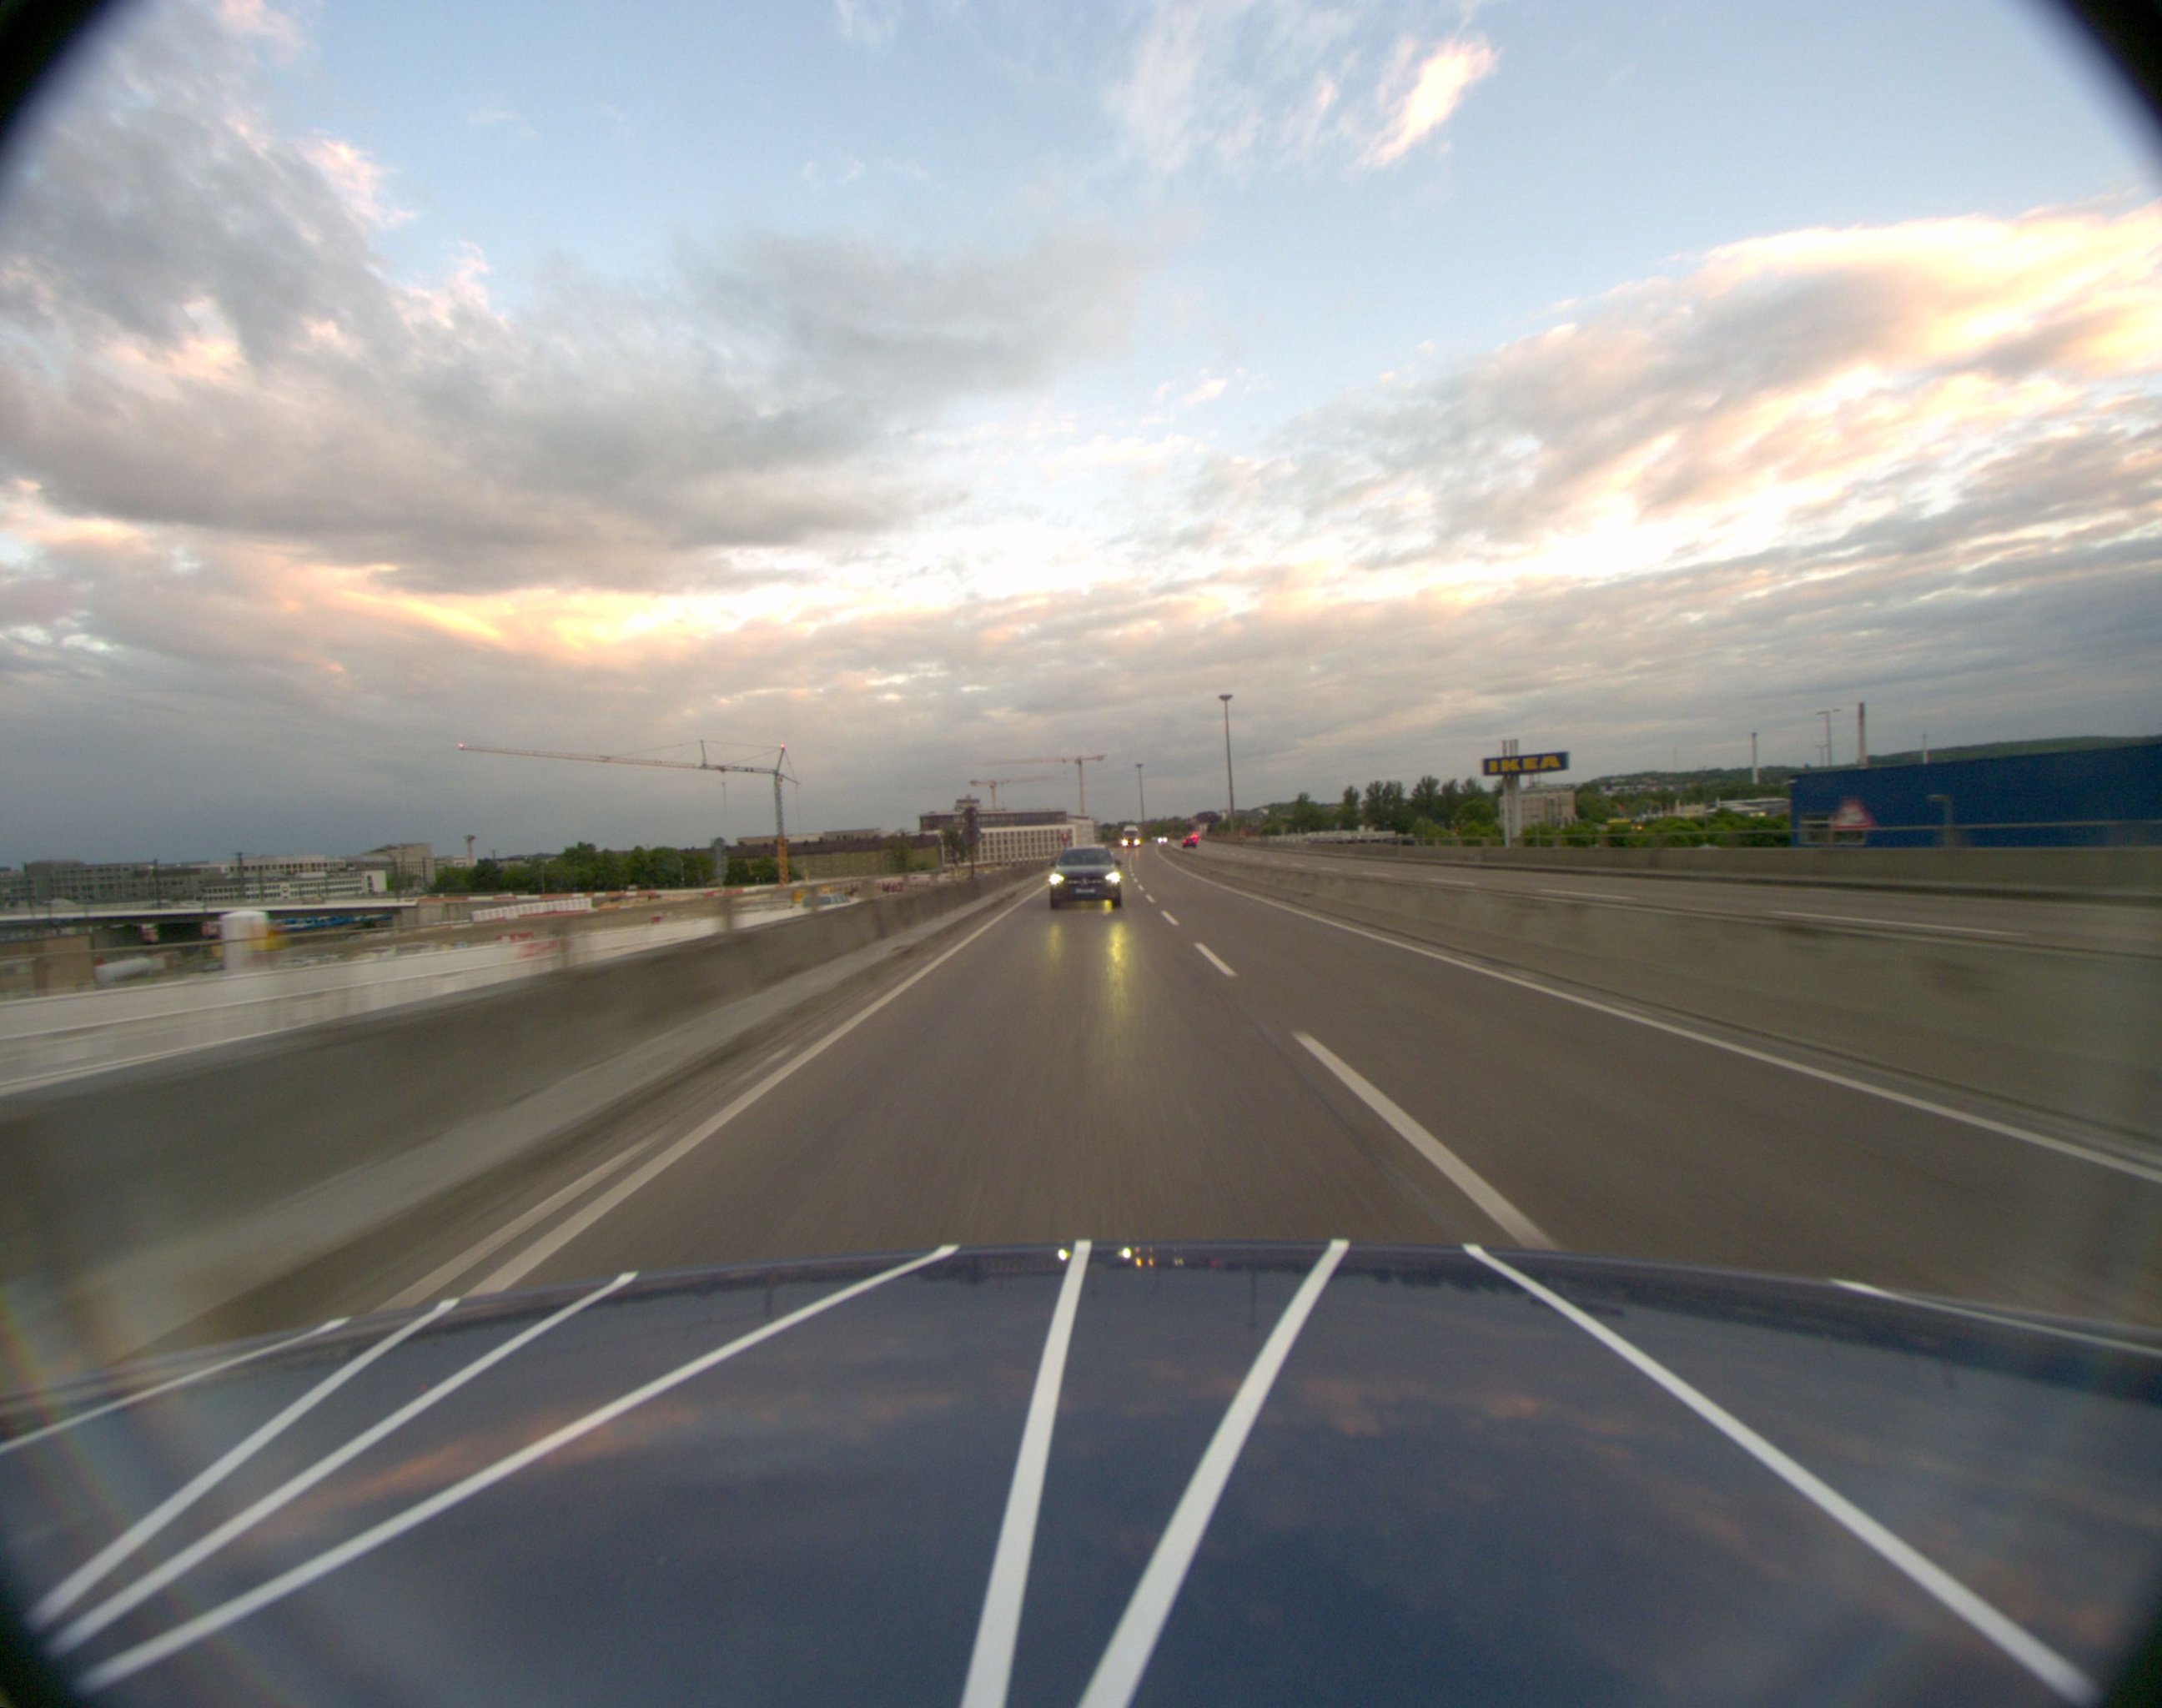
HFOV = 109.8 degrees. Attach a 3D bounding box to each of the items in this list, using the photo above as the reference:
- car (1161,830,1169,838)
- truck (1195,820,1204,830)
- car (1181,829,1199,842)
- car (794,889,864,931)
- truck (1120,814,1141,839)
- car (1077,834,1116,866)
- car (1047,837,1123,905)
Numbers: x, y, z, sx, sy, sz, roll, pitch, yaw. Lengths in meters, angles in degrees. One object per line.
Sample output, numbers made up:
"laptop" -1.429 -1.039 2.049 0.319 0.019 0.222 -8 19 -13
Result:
"car" 23.576 -5.626 213.755 1.997 2.002 4.002 -3 1 8
"truck" 40.186 -9.891 257.920 2.539 3.278 7.450 -2 2 11
"car" 13.998 -2.379 97.925 1.833 1.472 4.287 -3 2 3
"car" -11.144 2.450 33.824 1.754 1.482 4.000 -3 0 -1
"truck" 9.045 -4.976 137.475 3.164 4.370 8.795 -2 2 8
"car" 0.930 -0.213 42.808 1.891 1.641 4.345 -3 0 4
"car" 0.194 0.381 20.776 1.823 1.603 4.212 -2 1 3
